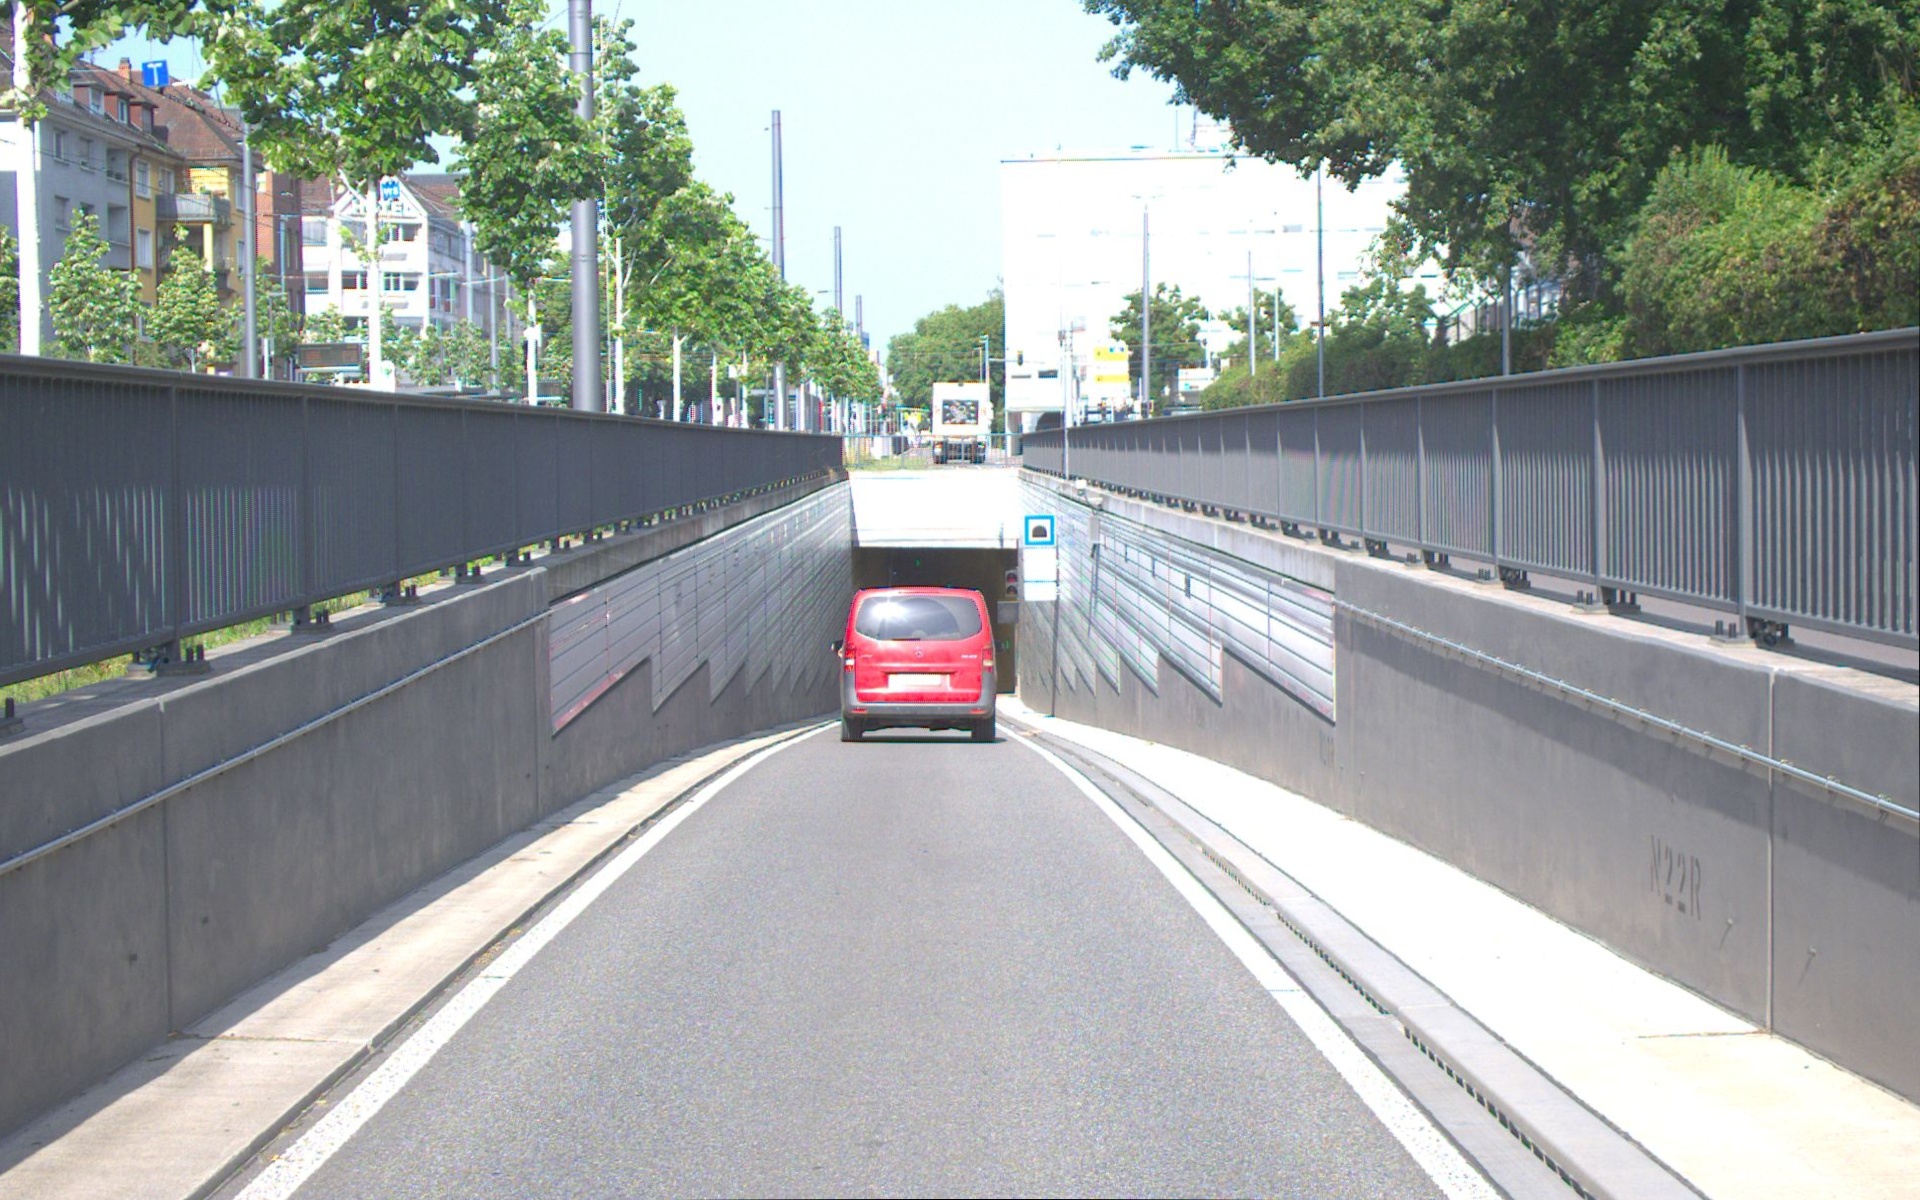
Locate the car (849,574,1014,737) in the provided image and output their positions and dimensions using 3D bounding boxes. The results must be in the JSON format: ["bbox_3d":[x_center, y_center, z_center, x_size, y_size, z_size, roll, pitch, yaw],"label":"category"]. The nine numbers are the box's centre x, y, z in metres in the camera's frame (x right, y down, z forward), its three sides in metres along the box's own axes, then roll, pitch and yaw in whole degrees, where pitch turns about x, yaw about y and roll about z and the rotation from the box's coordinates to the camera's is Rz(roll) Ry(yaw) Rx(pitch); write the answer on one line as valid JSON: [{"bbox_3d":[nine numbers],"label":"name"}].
[{"bbox_3d":[-0.361,0.640,42.577,1.901,1.853,4.000,1,1,-1],"label":"car"}]

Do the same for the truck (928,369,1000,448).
[{"bbox_3d":[0.142,-9.379,169.104,3.391,3.713,10.453,-1,3,-1],"label":"truck"}]
